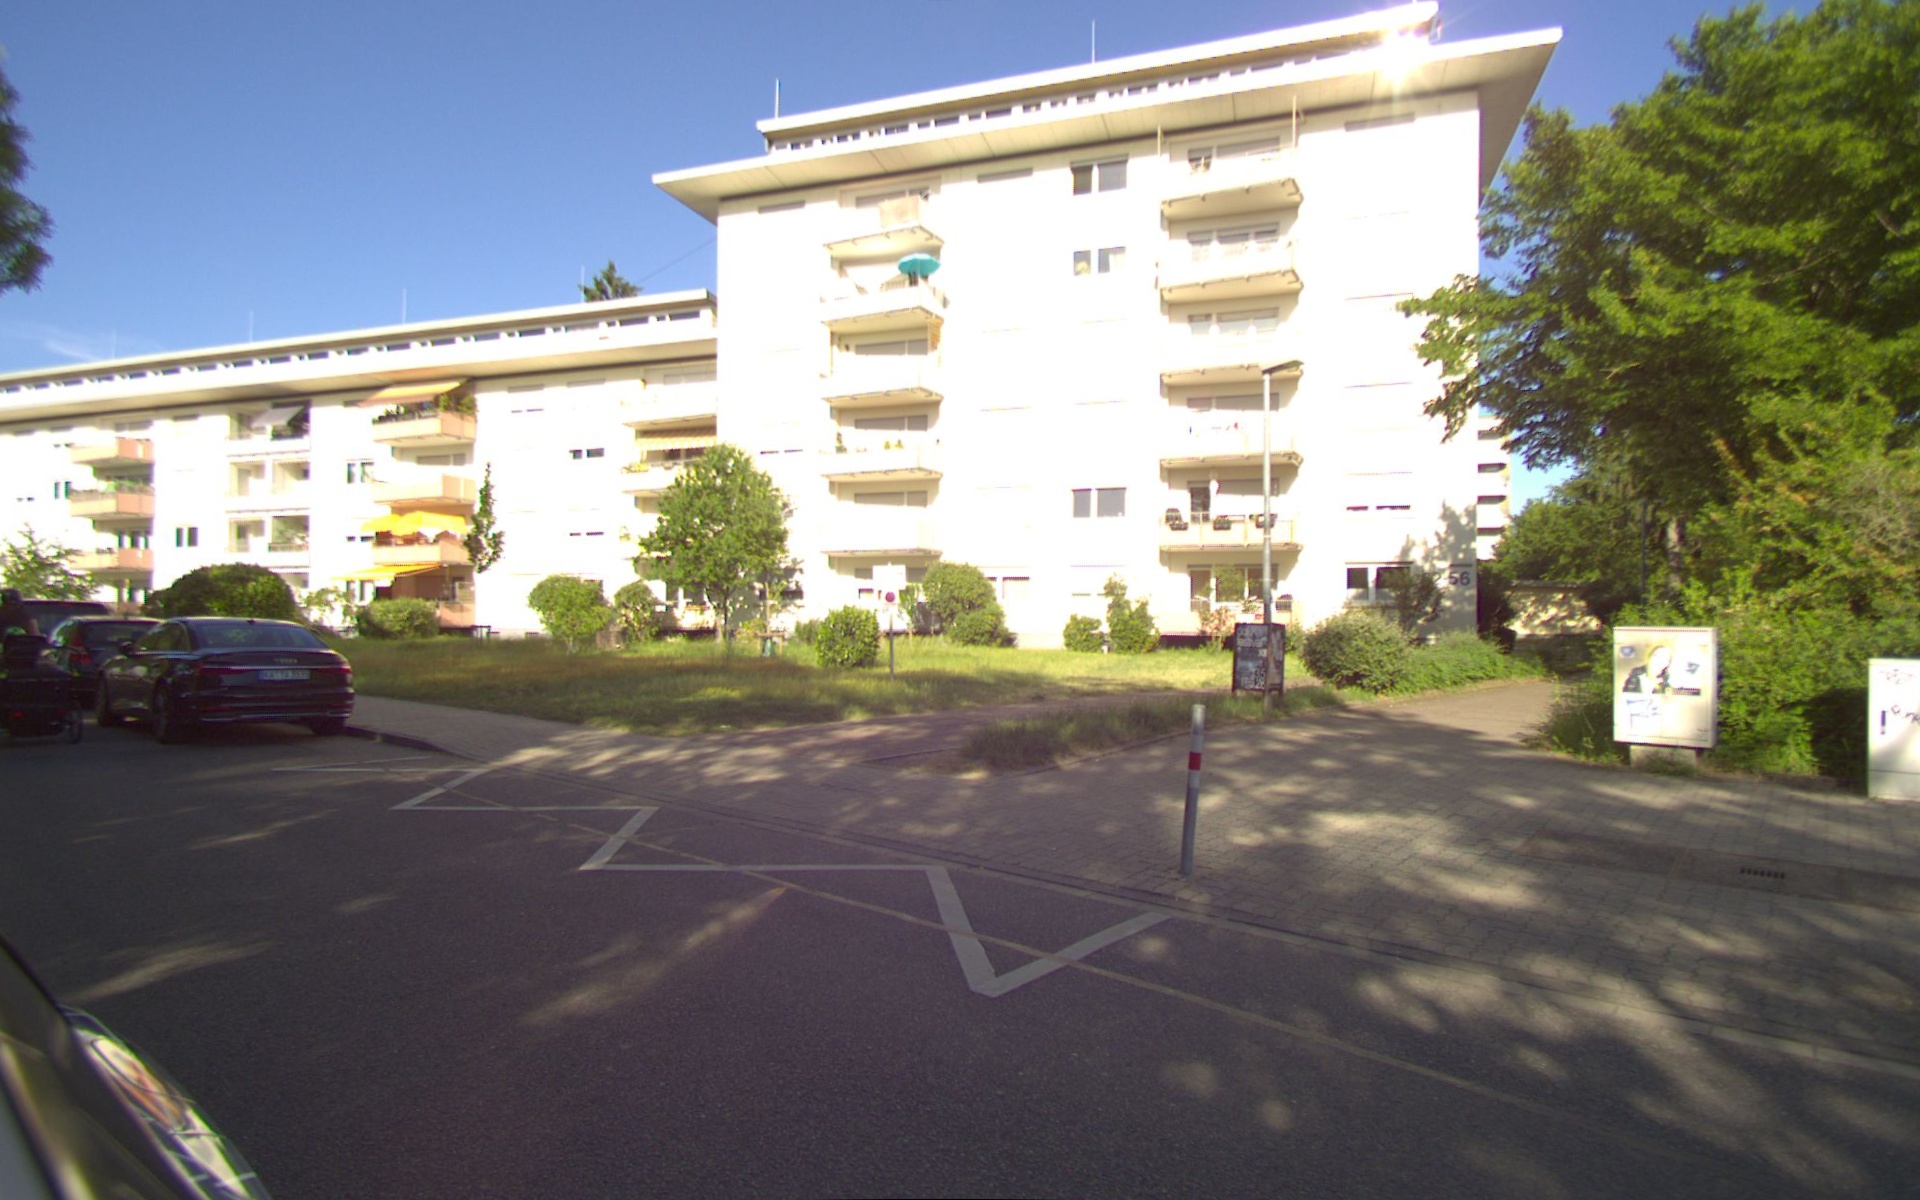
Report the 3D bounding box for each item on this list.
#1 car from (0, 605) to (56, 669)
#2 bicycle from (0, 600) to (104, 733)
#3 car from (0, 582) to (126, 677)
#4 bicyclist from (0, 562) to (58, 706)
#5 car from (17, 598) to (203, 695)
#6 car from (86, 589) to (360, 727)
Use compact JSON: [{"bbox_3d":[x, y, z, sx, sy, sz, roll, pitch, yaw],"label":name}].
[{"bbox_3d":[-24.035,0.865,24.928,4.568,1.493,1.822,0,-2,38],"label":"car"},{"bbox_3d":[-11.161,0.705,11.886,3.212,1.381,0.844,0,1,34],"label":"bicycle"},{"bbox_3d":[-19.552,0.578,21.546,4.883,1.794,1.822,0,-1,39],"label":"car"},{"bbox_3d":[-11.545,0.396,12.139,1.062,1.670,0.838,0,1,34],"label":"bicyclist"},{"bbox_3d":[-14.506,0.729,17.202,4.016,1.465,1.821,-1,-1,41],"label":"car"},{"bbox_3d":[-9.549,0.666,12.960,4.677,1.475,1.710,-1,-1,39],"label":"car"}]
